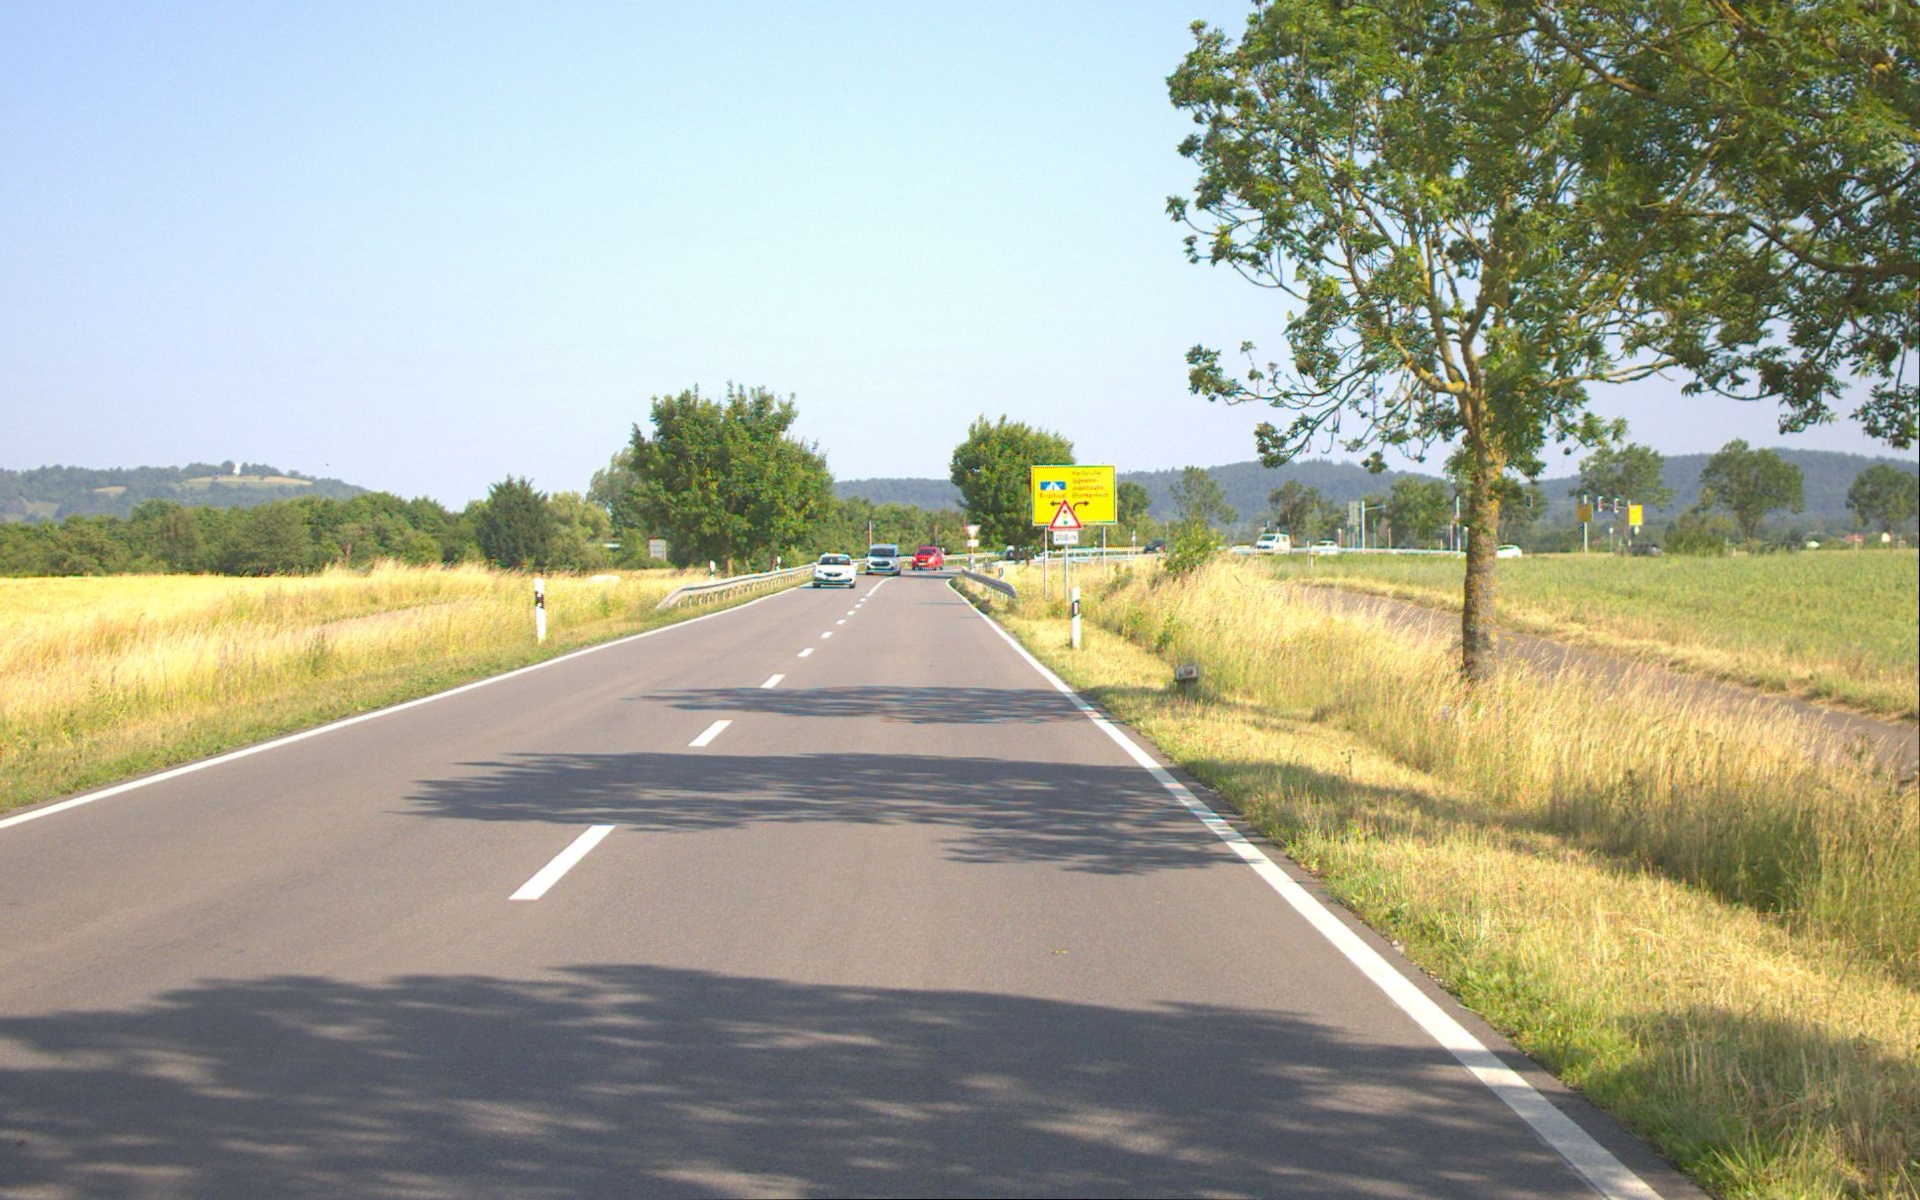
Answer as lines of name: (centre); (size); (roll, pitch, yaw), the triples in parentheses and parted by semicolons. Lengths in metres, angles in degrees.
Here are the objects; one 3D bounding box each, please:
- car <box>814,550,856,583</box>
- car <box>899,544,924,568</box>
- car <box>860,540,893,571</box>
car: (-5.368, -1.443, 147.915); (1.726, 1.432, 4.517); (0, 1, -1)
car: (-3.129, -2.873, 223.989); (1.606, 1.483, 3.780); (0, 1, -1)
car: (-4.881, -2.621, 201.926); (1.836, 1.780, 4.435); (0, 1, 0)
